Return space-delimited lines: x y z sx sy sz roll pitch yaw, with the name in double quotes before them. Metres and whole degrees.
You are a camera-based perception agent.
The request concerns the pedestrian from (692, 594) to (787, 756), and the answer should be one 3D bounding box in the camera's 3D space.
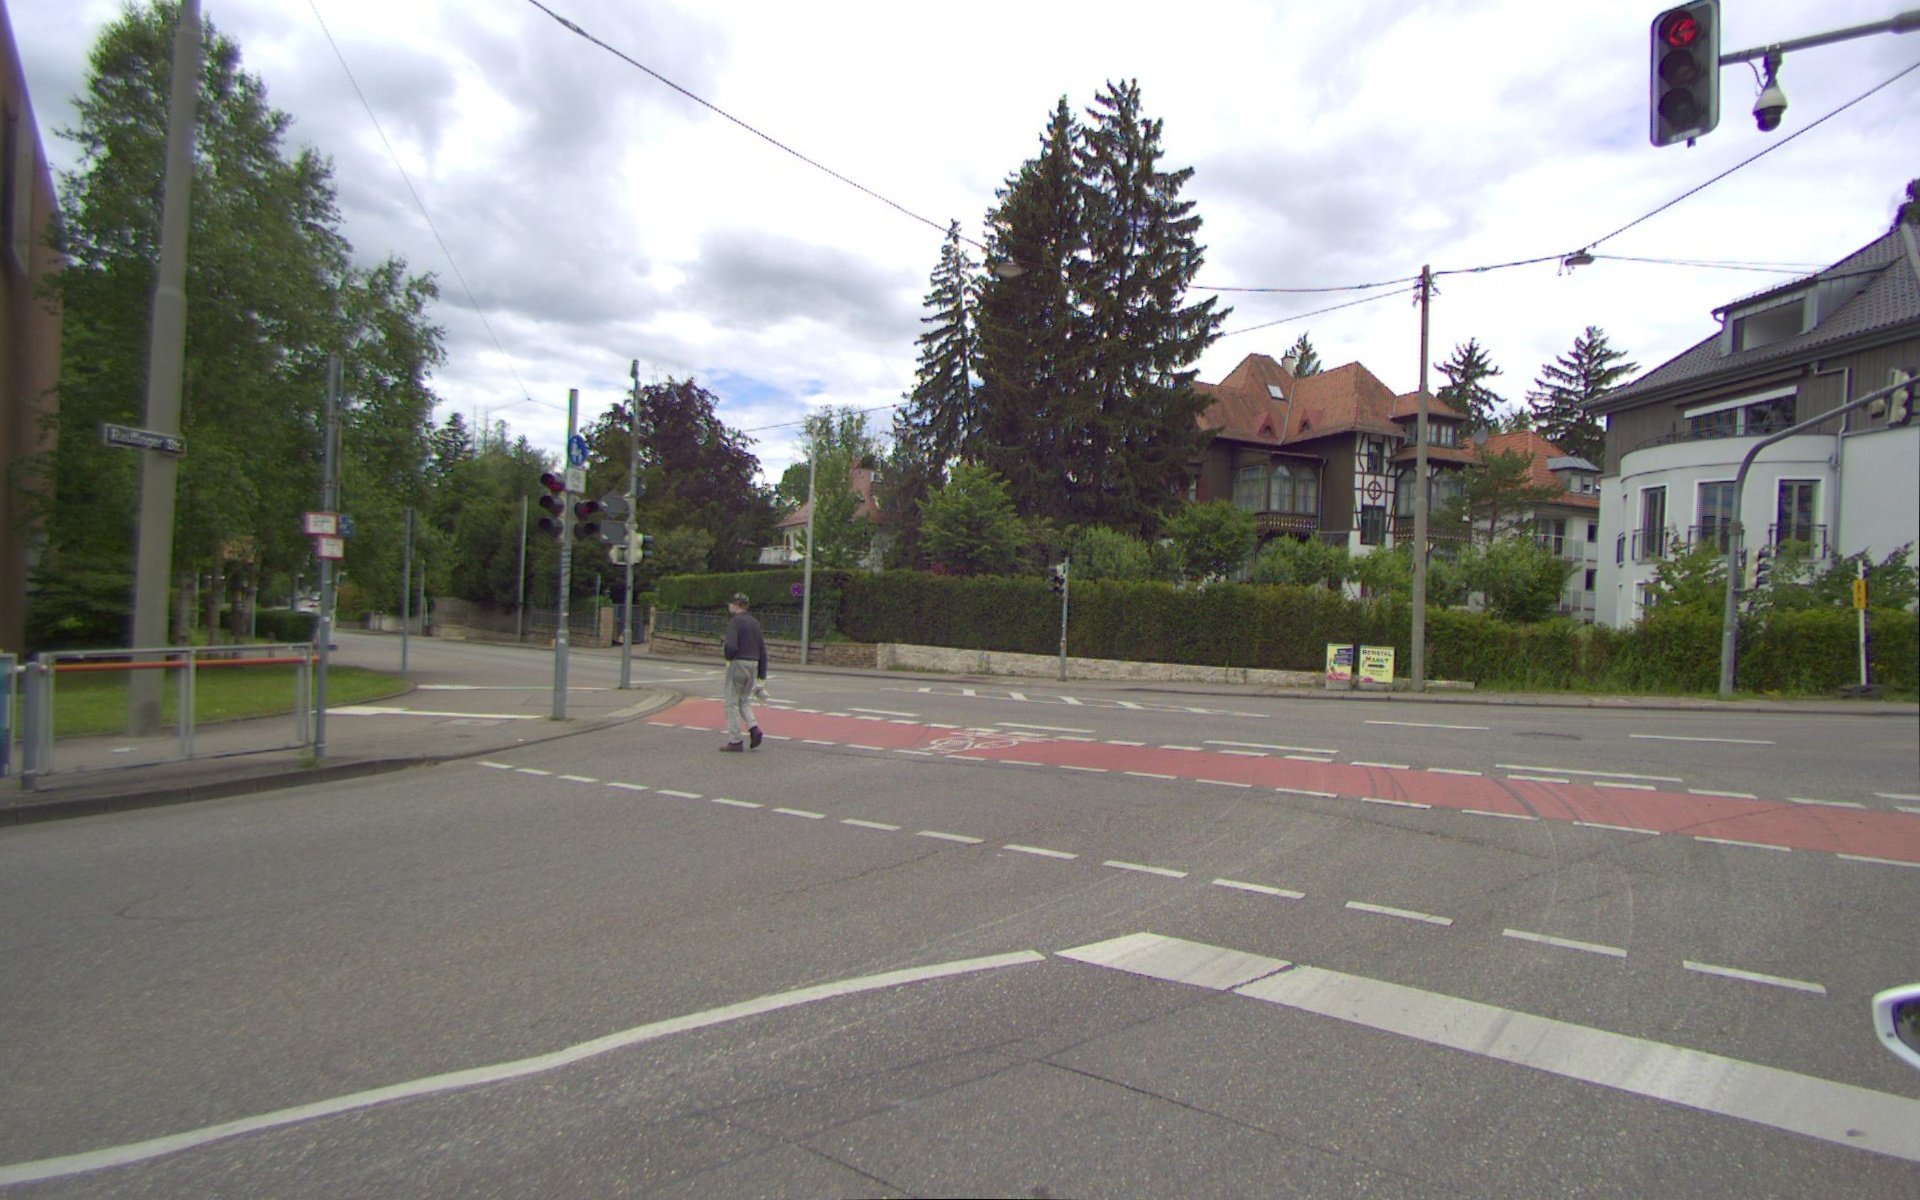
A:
"pedestrian" -2.347 0.778 10.720 0.726 1.655 0.683 -1 -1 22
